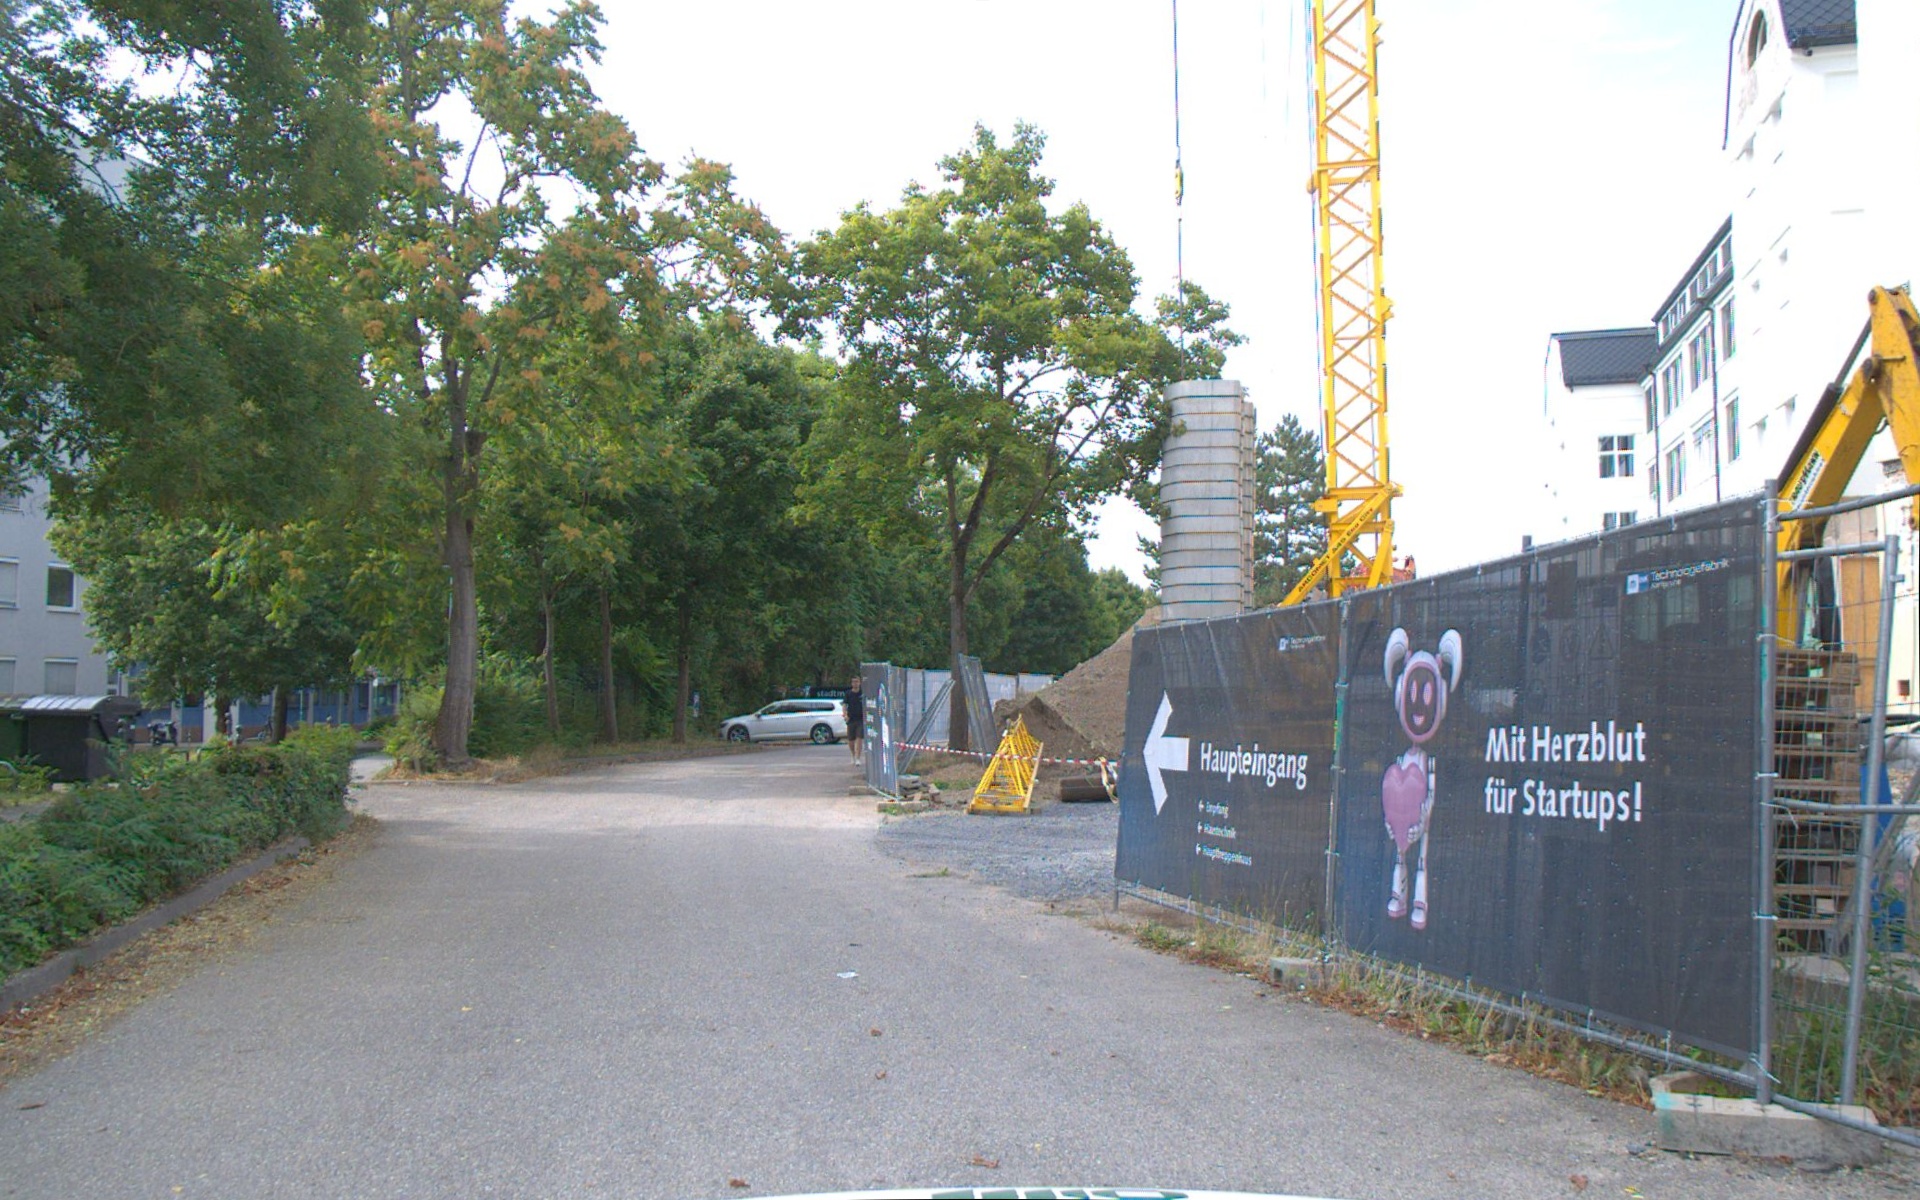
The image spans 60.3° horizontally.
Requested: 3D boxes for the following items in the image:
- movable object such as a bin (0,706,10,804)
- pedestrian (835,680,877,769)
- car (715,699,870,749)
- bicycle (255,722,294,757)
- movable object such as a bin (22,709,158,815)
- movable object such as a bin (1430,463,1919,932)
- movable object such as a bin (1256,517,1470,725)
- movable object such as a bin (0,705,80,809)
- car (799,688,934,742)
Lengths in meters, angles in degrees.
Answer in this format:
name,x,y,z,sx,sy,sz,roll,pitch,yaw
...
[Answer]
name,x,y,z,sx,sy,sz,roll,pitch,yaw
movable object such as a bin,-15.041,2.311,24.457,1.252,1.456,1.123,-2,-4,12
pedestrian,-2.154,2.587,34.385,0.731,1.821,0.731,-1,-4,7
car,-5.421,4.029,53.794,4.690,1.515,2.001,-1,-4,7
bicycle,-24.991,5.075,60.323,0.636,1.202,1.899,-1,-4,-1
movable object such as a bin,-12.344,2.287,23.514,1.252,1.456,1.123,-2,-4,12
movable object such as a bin,4.738,0.600,10.415,2.441,2.486,3.057,-1,-4,-5
movable object such as a bin,14.736,1.002,59.624,3.777,6.788,10.951,-3,-4,34
movable object such as a bin,-13.768,2.268,24.054,1.252,1.456,1.123,-2,-4,12
car,-3.675,4.522,65.053,4.938,1.988,2.001,-2,-4,11
